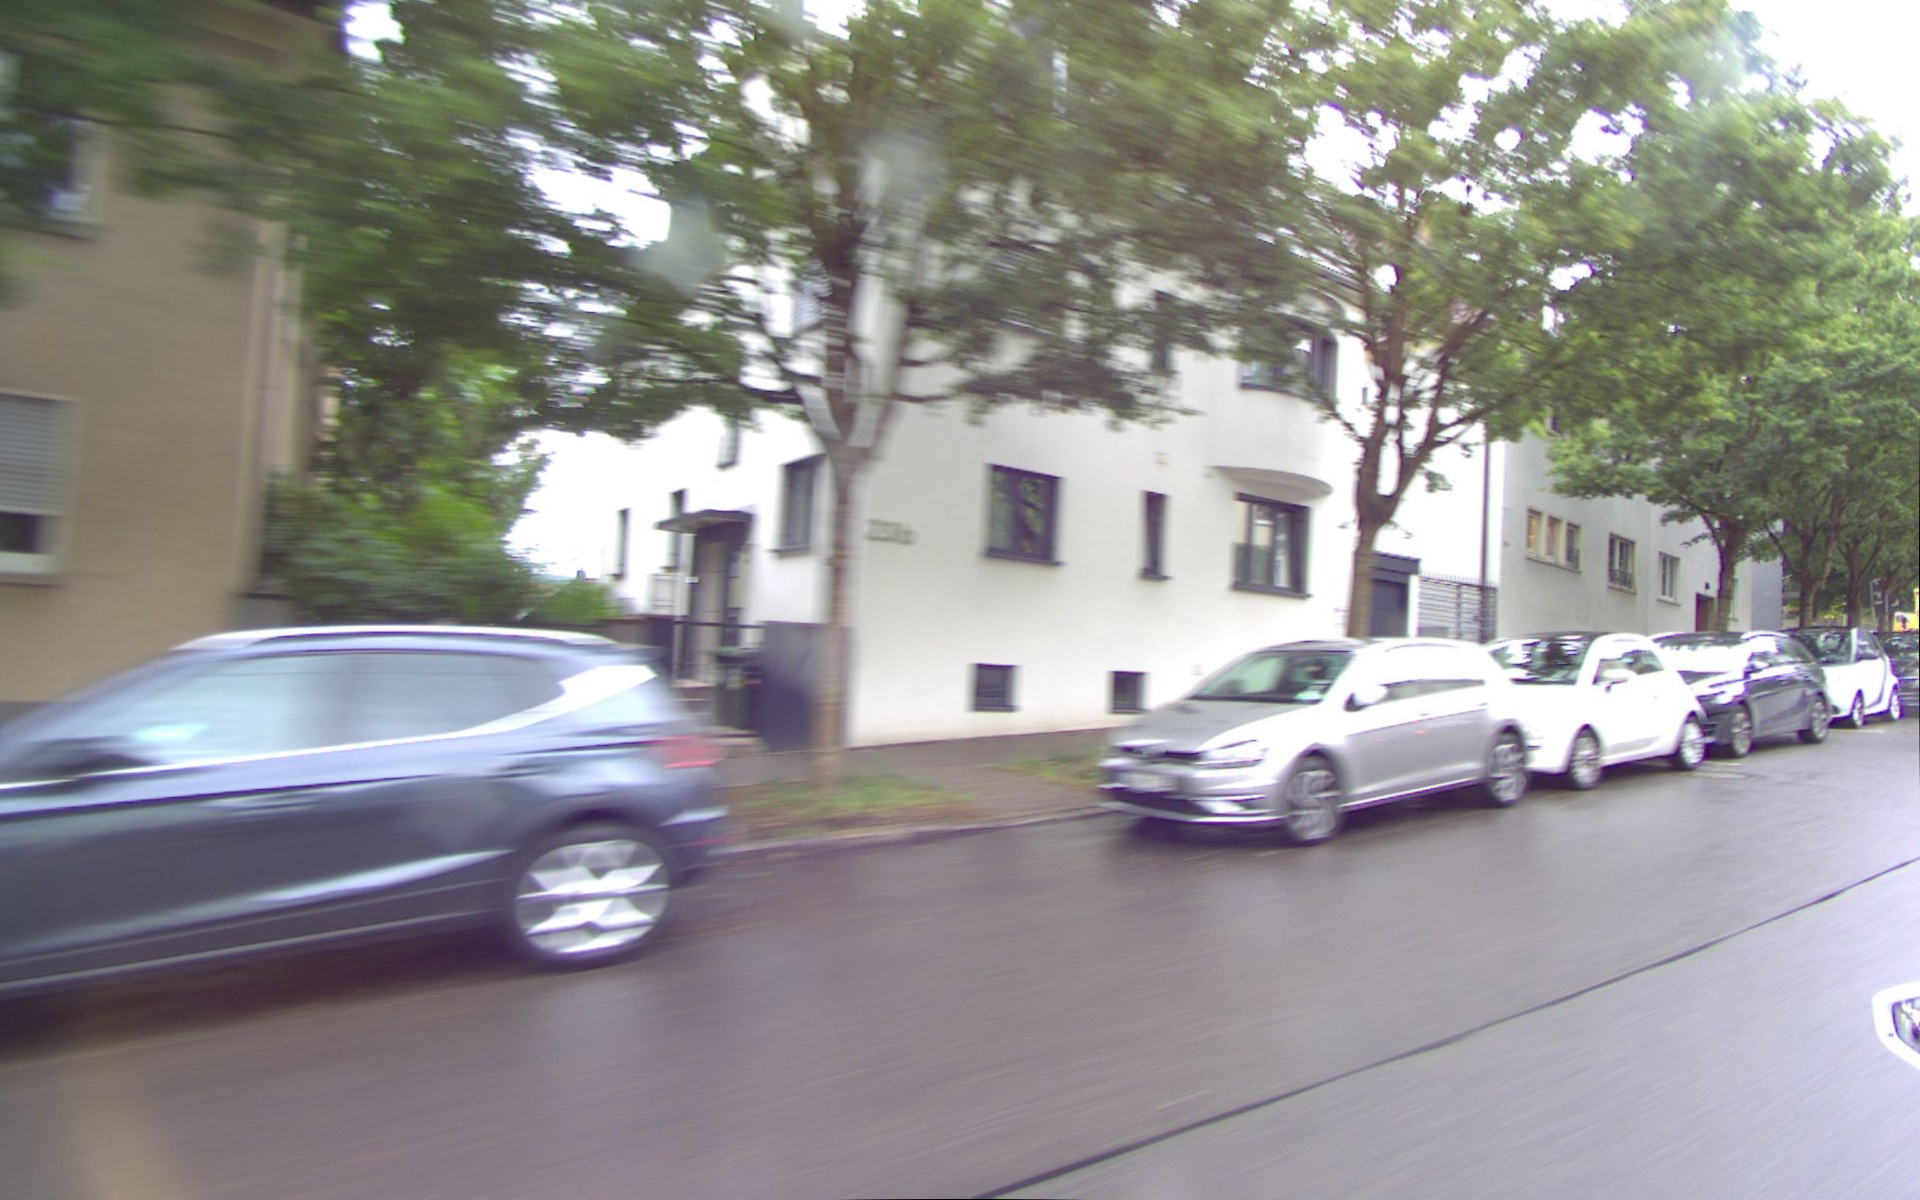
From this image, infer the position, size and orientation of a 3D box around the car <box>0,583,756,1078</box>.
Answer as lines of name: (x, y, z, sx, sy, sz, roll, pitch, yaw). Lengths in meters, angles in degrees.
car: (-3.053, 0.869, 4.537, 3.880, 1.679, 1.610, 2, -6, -32)

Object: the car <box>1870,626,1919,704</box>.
car: (21.051, 1.373, 21.556, 3.815, 1.585, 1.620, 2, -4, -39)

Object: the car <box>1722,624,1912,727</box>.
car: (14.176, 1.229, 16.577, 3.350, 1.530, 1.546, 2, -5, -35)

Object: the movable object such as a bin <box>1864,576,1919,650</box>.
movable object such as a bin: (54.830, 0.731, 56.405, 2.771, 4.068, 7.331, 0, 0, 13)

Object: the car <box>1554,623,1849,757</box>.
car: (9.840, 1.135, 13.237, 4.428, 1.507, 1.655, 2, -5, -33)

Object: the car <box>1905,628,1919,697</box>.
car: (25.155, 1.460, 25.130, 4.542, 1.629, 1.668, 1, -6, -42)

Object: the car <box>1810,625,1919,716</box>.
car: (17.328, 1.293, 18.536, 4.059, 1.507, 1.545, 2, -5, -37)

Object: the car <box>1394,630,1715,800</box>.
car: (6.383, 1.130, 10.713, 3.433, 1.507, 1.565, 1, -4, -34)

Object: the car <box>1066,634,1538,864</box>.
car: (2.911, 1.083, 8.305, 3.930, 1.489, 1.609, 2, -5, -33)
